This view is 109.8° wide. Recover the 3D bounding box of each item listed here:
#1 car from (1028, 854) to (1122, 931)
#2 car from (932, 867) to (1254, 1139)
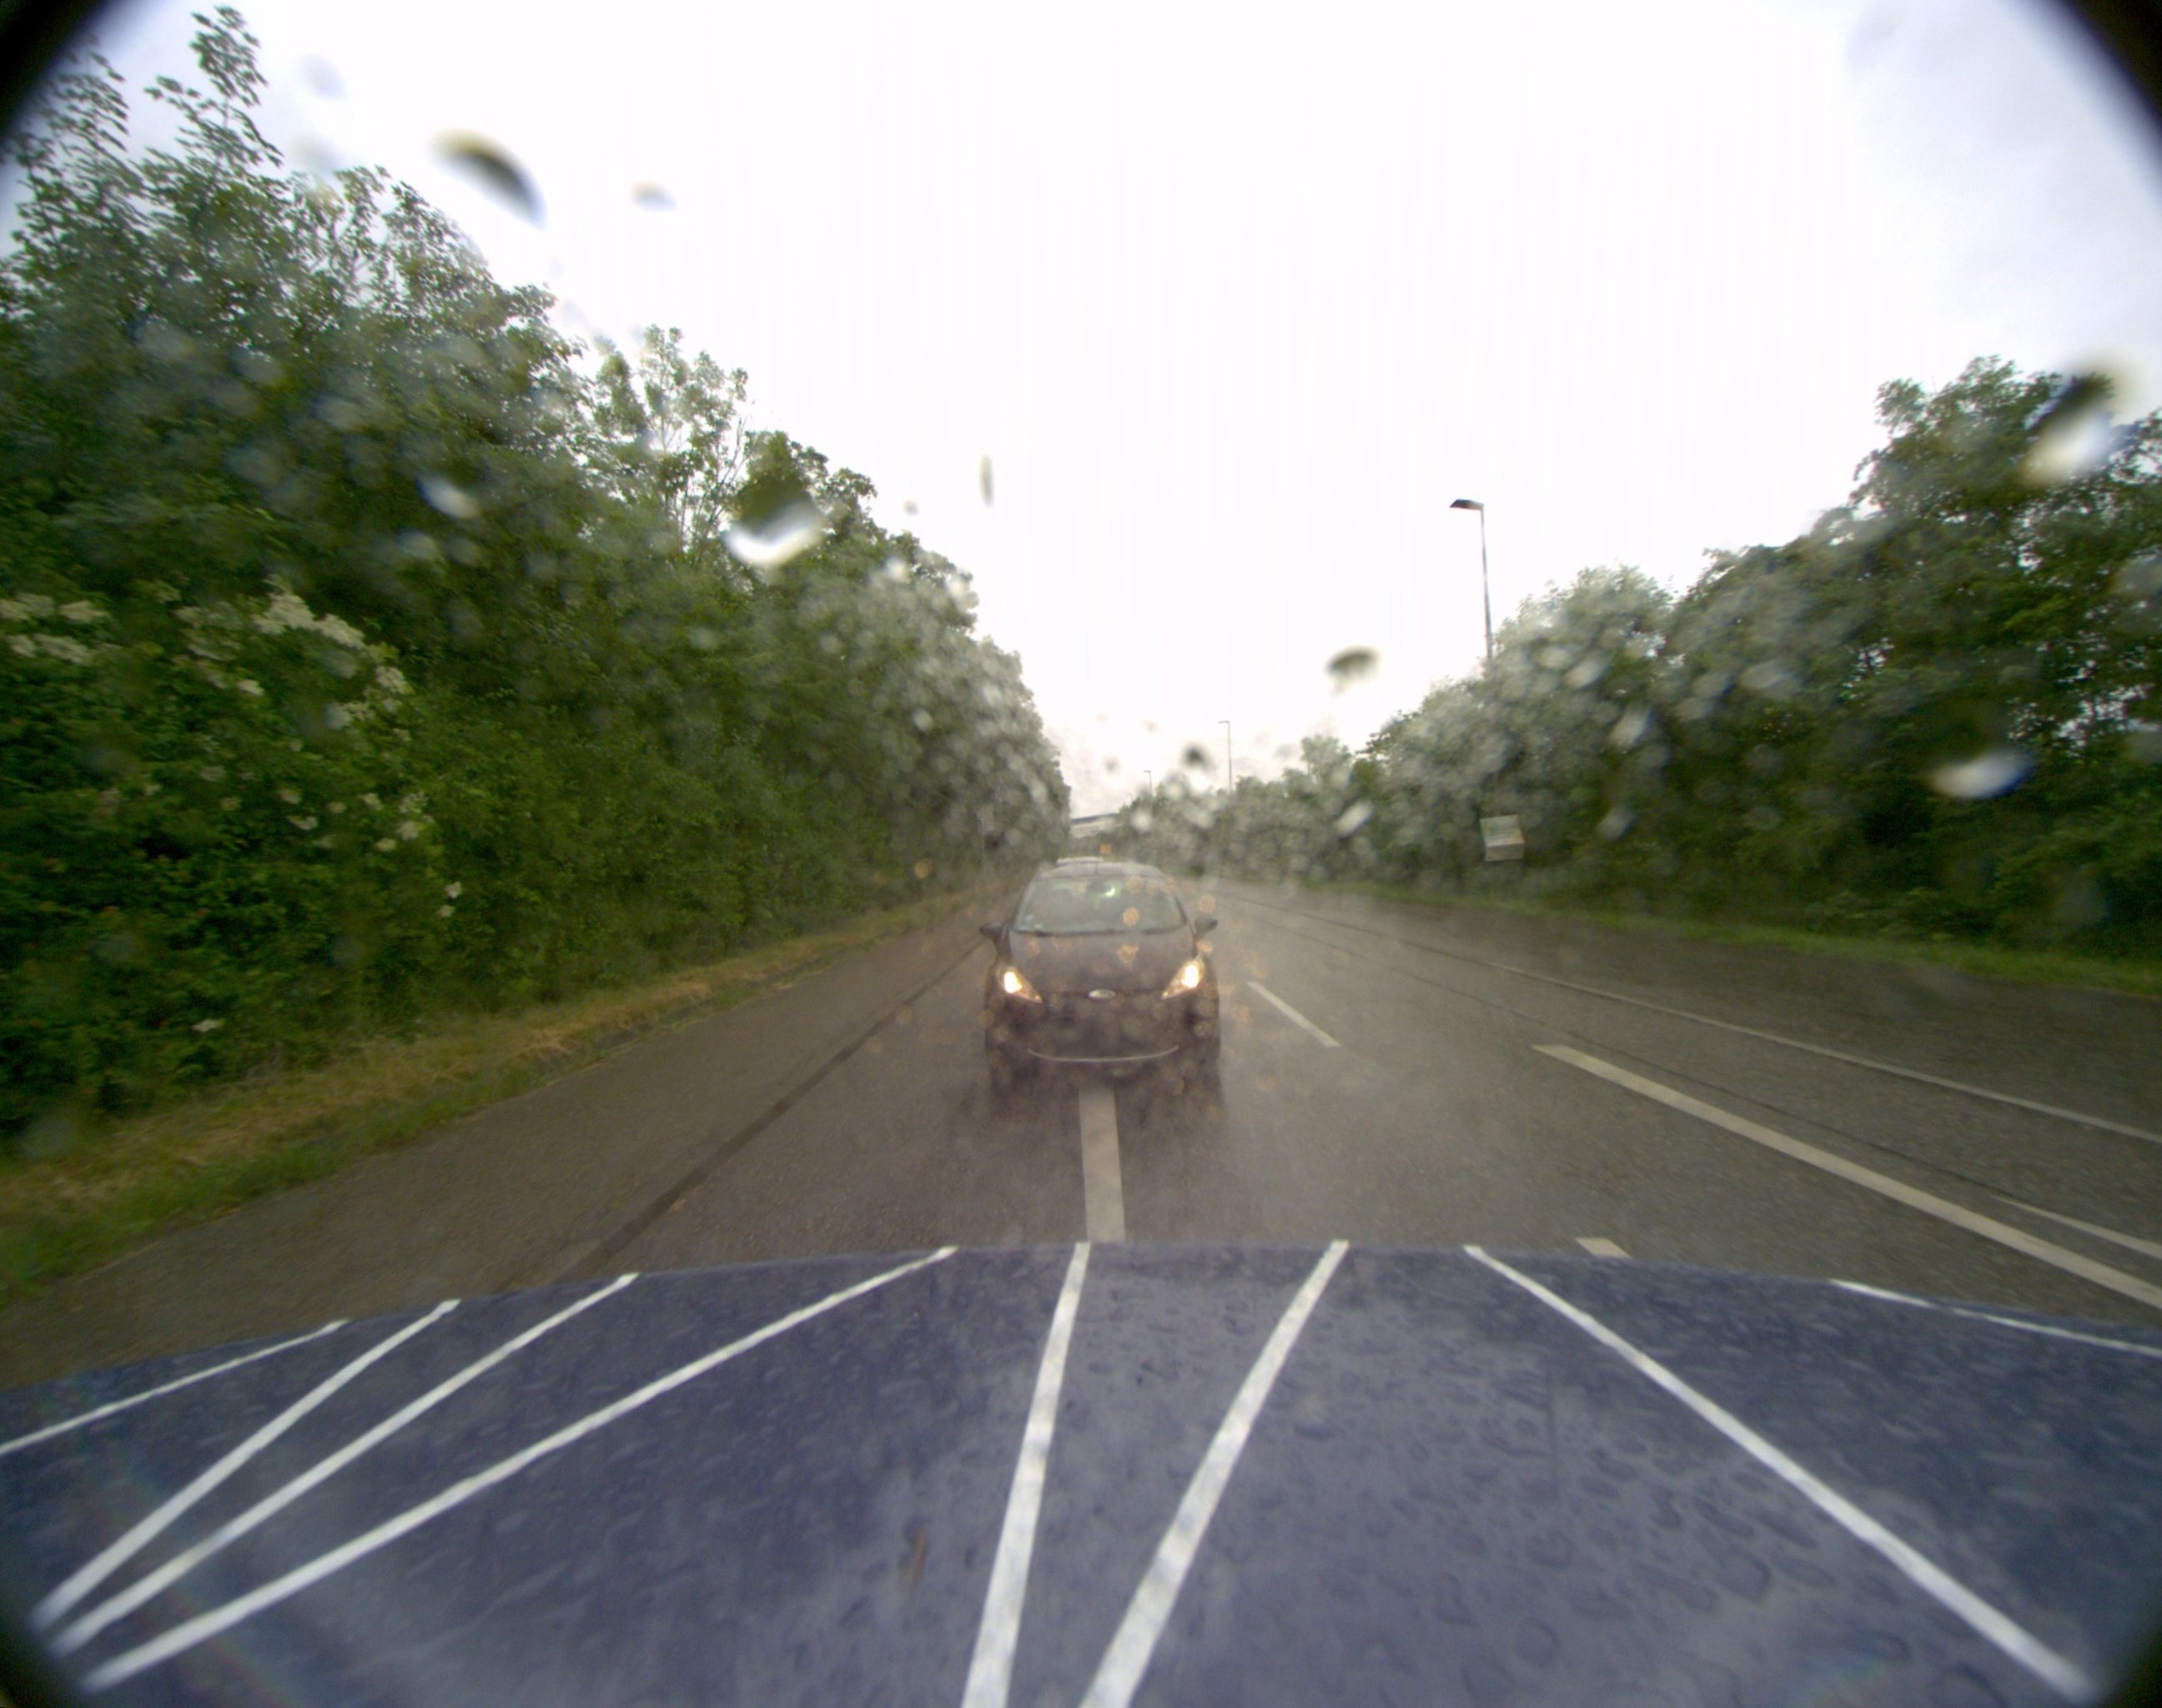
[{"bbox_3d":[-0.110,0.834,18.630,1.998,1.576,3.999,-2,1,1],"label":"car"},{"bbox_3d":[0.094,0.910,6.599,1.839,1.404,4.342,-2,1,1],"label":"car"}]
